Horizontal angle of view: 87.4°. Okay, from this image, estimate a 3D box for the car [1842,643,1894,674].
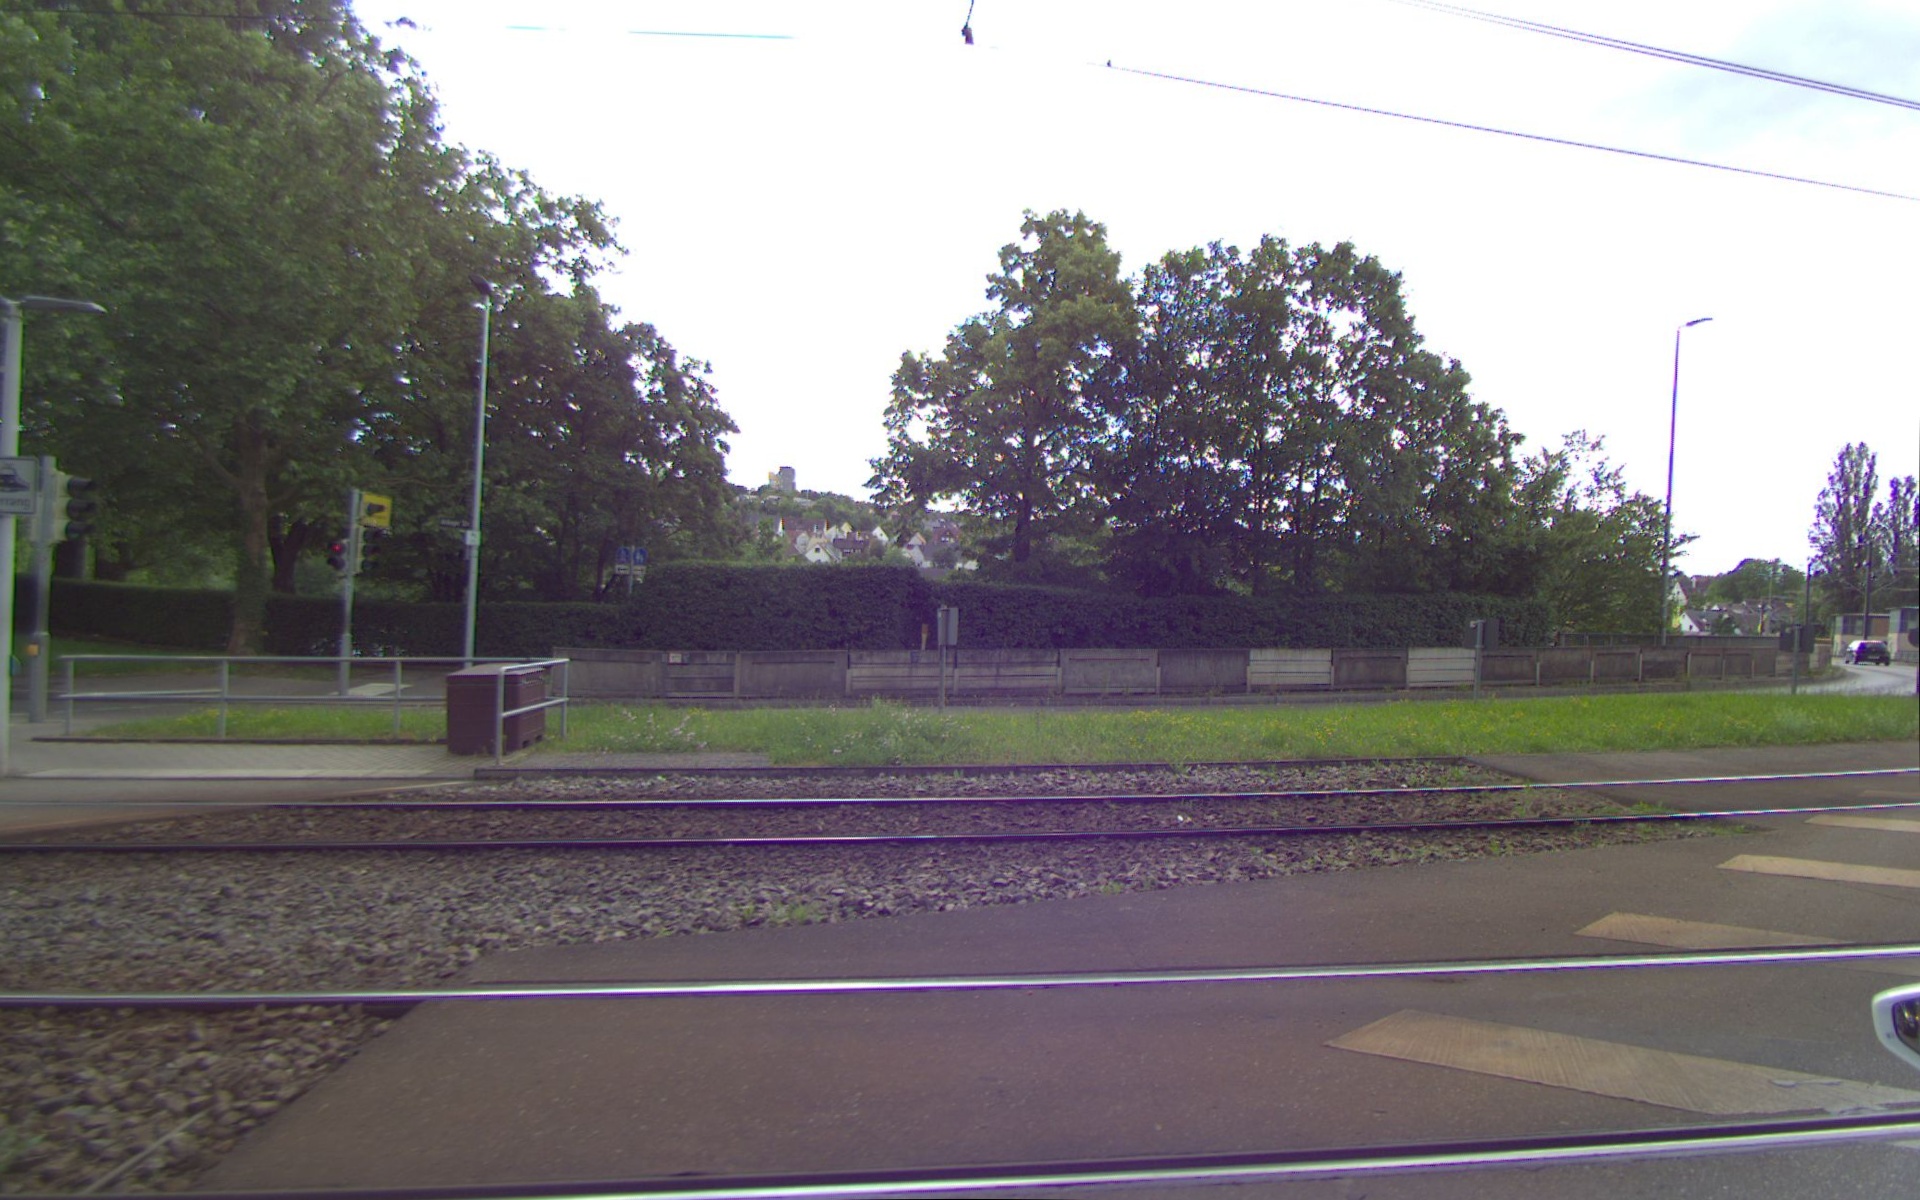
[{"bbox_3d":[54.865,3.475,60.769,1.968,1.695,4.523,0,-1,37],"label":"car"}]

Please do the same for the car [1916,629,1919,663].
[{"bbox_3d":[44.895,2.124,45.425,1.969,1.585,4.976,-1,-1,38],"label":"car"}]

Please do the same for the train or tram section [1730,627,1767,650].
[{"bbox_3d":[133.522,6.520,170.317,2.841,3.555,18.625,1,-2,32],"label":"train or tram section"}]
